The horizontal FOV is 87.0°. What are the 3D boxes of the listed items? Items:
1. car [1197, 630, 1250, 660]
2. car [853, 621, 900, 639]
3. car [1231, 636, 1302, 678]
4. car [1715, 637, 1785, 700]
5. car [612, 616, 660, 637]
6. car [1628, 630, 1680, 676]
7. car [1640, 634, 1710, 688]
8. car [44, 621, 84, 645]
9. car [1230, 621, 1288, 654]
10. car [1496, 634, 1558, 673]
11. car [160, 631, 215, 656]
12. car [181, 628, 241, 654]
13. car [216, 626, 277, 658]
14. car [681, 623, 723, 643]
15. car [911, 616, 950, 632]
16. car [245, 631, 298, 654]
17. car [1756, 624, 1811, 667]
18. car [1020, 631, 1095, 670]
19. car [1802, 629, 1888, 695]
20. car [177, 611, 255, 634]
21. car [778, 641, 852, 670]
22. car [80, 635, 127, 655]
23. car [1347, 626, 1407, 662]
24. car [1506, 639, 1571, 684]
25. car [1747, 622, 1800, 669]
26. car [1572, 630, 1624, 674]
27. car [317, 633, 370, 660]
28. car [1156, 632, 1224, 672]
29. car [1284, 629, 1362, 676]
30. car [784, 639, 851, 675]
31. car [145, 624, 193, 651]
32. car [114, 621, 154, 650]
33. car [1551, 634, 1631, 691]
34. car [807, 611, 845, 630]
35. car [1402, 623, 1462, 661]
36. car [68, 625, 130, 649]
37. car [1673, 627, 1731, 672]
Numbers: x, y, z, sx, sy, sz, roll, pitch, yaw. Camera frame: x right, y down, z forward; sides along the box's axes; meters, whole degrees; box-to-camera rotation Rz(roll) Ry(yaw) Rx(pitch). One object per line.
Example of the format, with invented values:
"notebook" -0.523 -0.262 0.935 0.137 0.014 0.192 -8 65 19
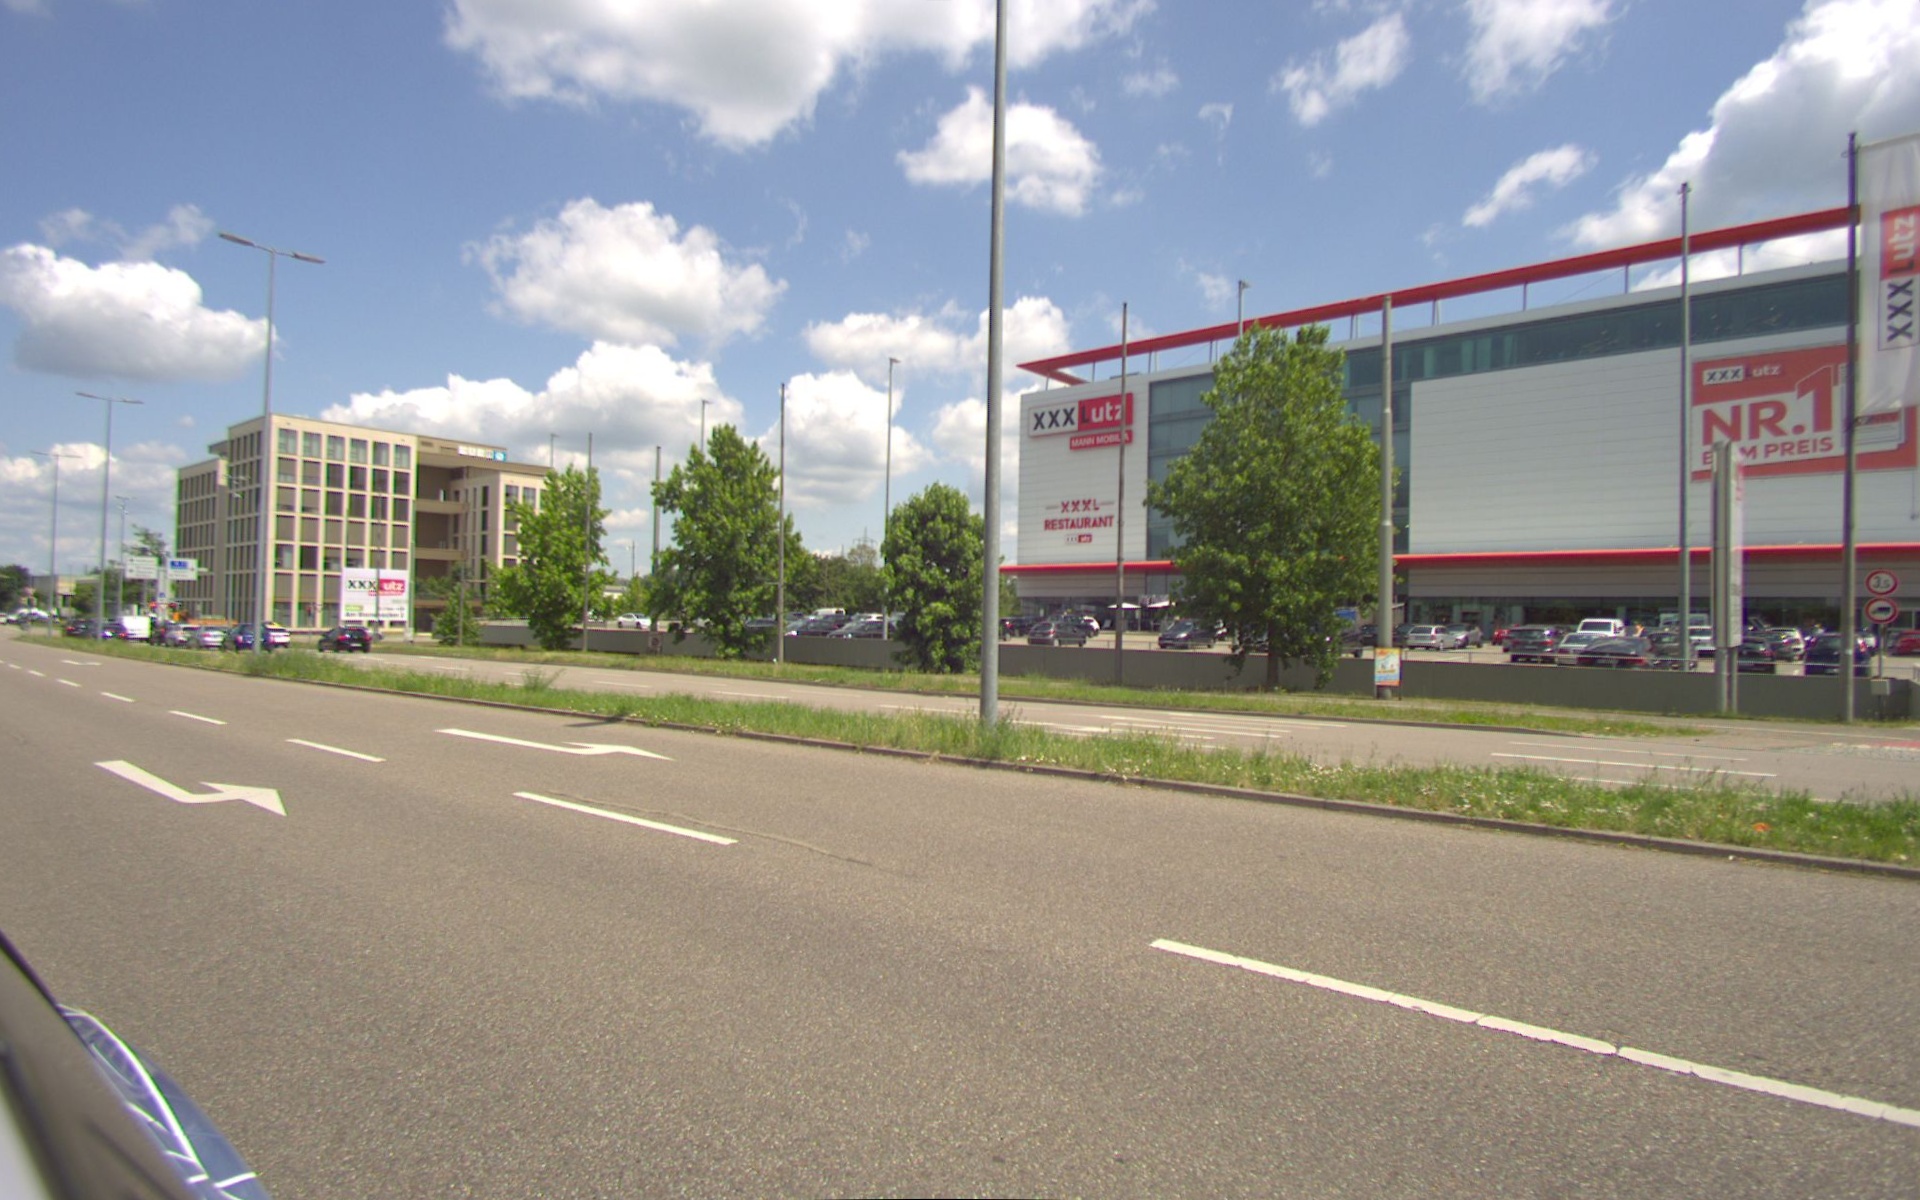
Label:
"car" 18.545 3.175 71.151 1.998 2.004 4.304 -2 -4 40
"car" -7.129 2.560 86.391 1.856 1.481 3.779 -2 -4 43
"car" 15.874 2.906 52.322 1.998 2.065 4.304 -1 -3 40
"car" 27.726 2.329 35.487 1.841 2.004 4.031 -1 -1 39
"car" -28.630 2.356 89.445 4.670 1.847 1.831 -2 -4 40
"car" 37.240 2.812 54.278 1.868 2.324 4.510 -1 -3 40
"car" 28.833 2.407 40.747 1.998 2.029 4.764 -1 -3 39
"car" -64.205 2.368 72.514 4.171 1.657 1.771 -2 -4 44
"car" 18.670 2.351 63.075 1.998 2.004 4.304 -1 -3 40
"car" 30.006 2.825 53.496 1.999 2.004 4.302 -2 -4 41
"car" -46.682 2.626 61.085 4.845 1.413 1.772 -2 -5 43
"car" -41.854 2.282 56.502 4.673 1.429 1.772 -2 -3 42
"car" -35.549 2.095 50.384 3.677 1.486 1.720 0 -3 43
"car" -24.334 3.106 95.517 3.828 1.847 1.832 -1 -3 38
"car" -2.963 2.441 102.636 1.855 1.556 3.781 -2 -4 41
"car" -45.933 2.849 67.480 4.352 1.484 1.604 -2 -4 38
"car" 40.939 2.265 50.315 1.998 2.029 3.946 -2 -3 40
"car" 5.330 2.737 54.962 1.998 2.004 4.304 -3 -4 40
"car" 29.429 1.993 33.757 1.998 2.004 4.304 -1 -2 40
"car" -82.536 2.496 112.404 6.421 2.347 2.862 1 -4 -25
"car" -8.420 3.230 59.002 1.846 1.608 3.943 -2 -4 43
"car" -54.917 2.872 64.886 4.307 1.260 1.772 -2 -4 43
"car" 24.051 2.520 58.286 1.998 2.004 4.304 -1 -3 40
"car" 25.463 2.658 44.501 1.776 1.844 4.304 -1 -3 40
"car" 37.497 2.085 46.616 1.776 2.029 3.946 -2 -3 40
"car" 35.465 2.867 56.183 1.868 2.324 4.510 -1 -3 40
"car" -35.059 2.624 57.481 4.118 1.481 1.601 -2 -4 45
"car" 12.726 2.856 55.887 1.990 2.058 4.243 -1 -3 40
"car" 16.456 2.359 45.762 1.998 2.004 4.304 -1 -3 40
"car" -9.592 3.839 68.363 1.998 2.347 4.304 -1 -3 40
"car" -51.507 2.462 65.909 4.227 1.714 1.772 -2 -4 43
"car" -61.606 2.663 75.440 3.577 2.059 1.836 -2 -4 44
"car" 23.877 2.332 38.256 1.998 2.004 4.304 -1 -3 40
"car" -14.104 2.181 106.261 3.830 1.847 1.831 -2 -4 40
"car" 26.405 2.334 56.521 1.998 2.004 4.304 -1 -3 40
"car" -59.355 2.560 69.794 3.747 1.572 1.783 -1 -3 24
"car" 35.449 2.341 48.326 1.998 2.004 4.304 0 -2 40
